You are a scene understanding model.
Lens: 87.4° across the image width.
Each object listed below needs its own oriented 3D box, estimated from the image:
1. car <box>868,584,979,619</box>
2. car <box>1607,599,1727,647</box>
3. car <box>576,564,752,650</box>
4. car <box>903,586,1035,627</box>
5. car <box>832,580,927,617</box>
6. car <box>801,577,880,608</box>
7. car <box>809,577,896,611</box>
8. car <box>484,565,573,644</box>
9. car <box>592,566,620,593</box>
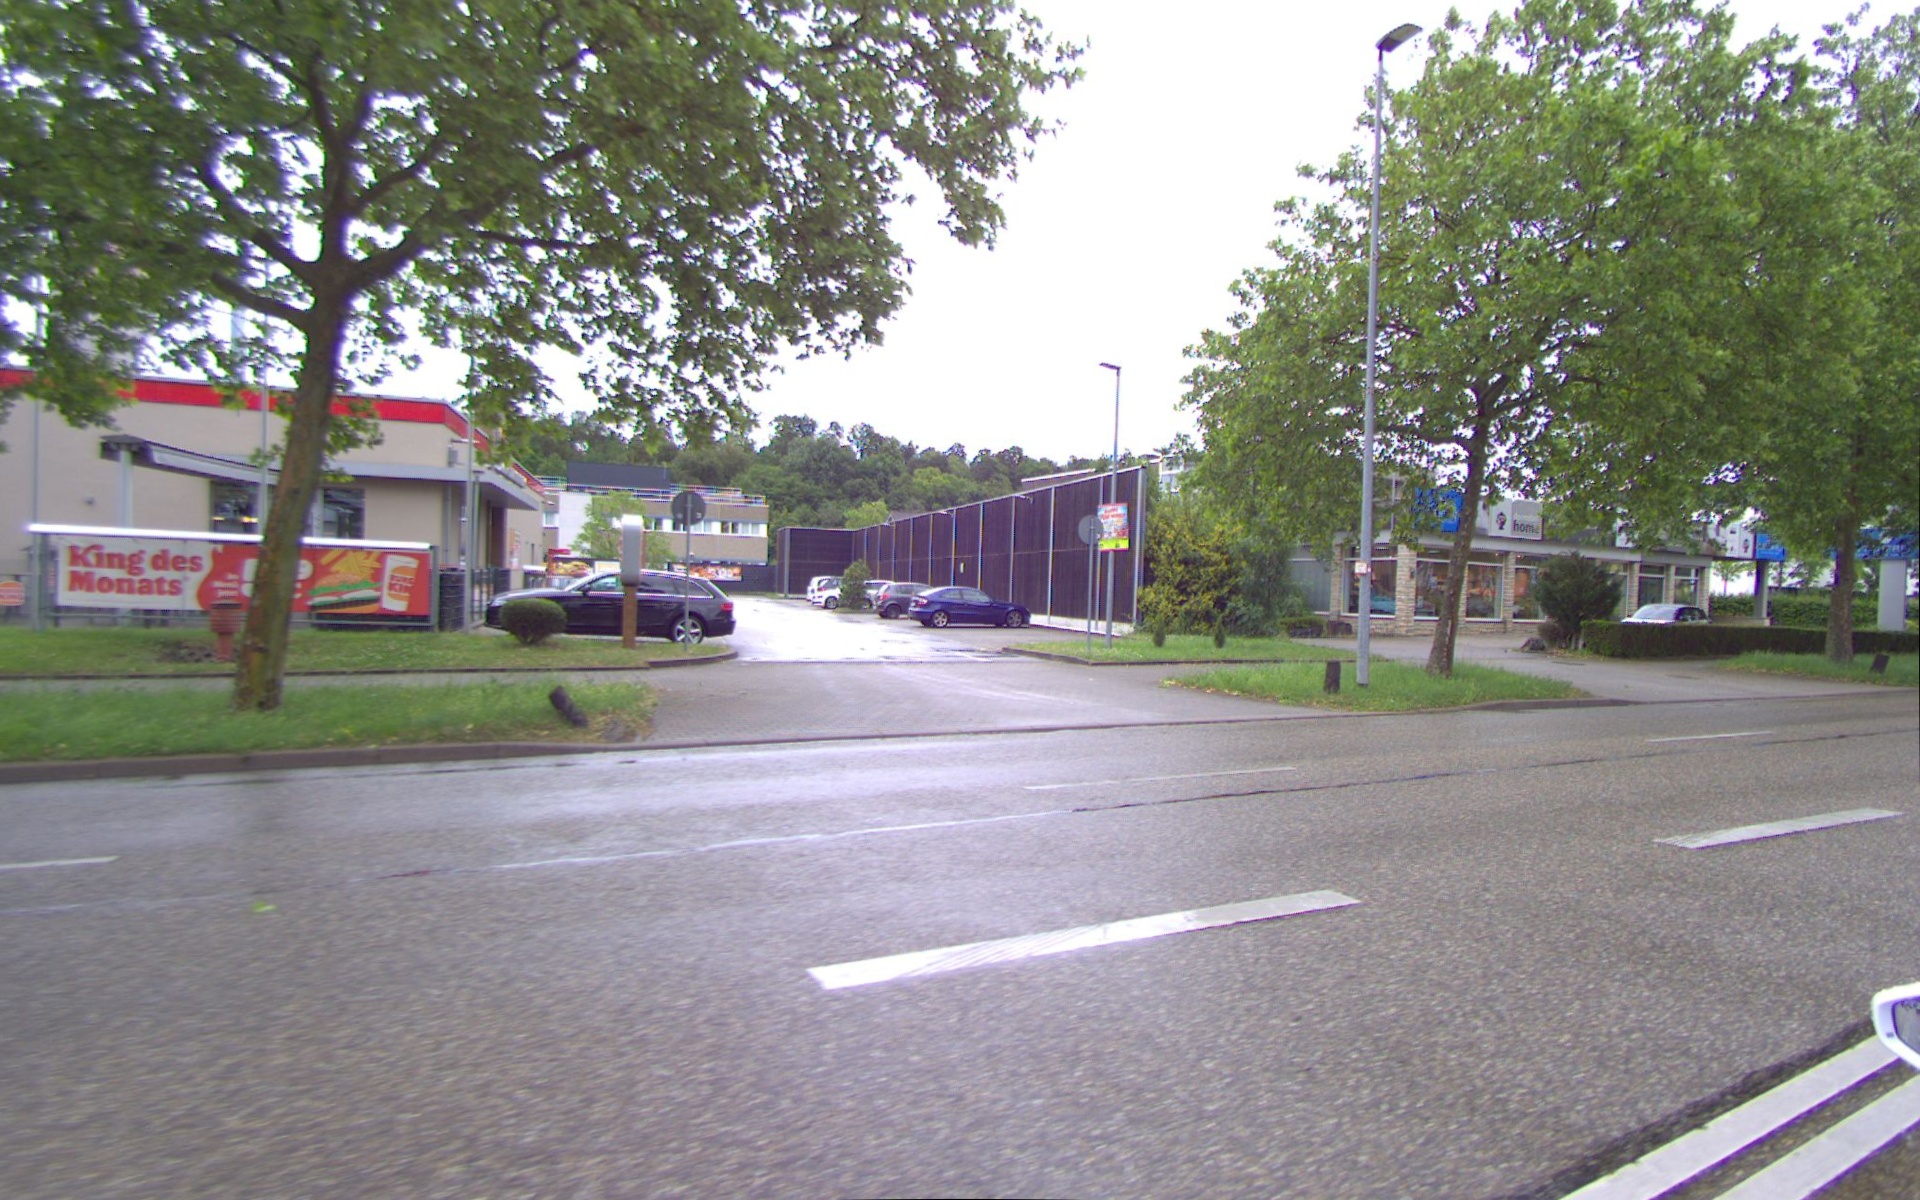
[{"bbox_3d":[-1.522,0.032,41.579,4.246,1.383,1.864,0,1,-17],"label":"car"},{"bbox_3d":[23.587,0.767,33.499,3.894,1.506,1.814,1,0,-31],"label":"car"},{"bbox_3d":[-5.841,0.138,19.790,3.145,1.445,1.431,4,1,-21],"label":"car"},{"bbox_3d":[0.287,0.207,34.772,4.246,1.383,1.864,0,1,-17],"label":"car"},{"bbox_3d":[-3.890,-0.074,48.430,4.246,1.660,1.864,1,0,-17],"label":"car"},{"bbox_3d":[-6.975,-0.423,58.547,4.246,1.660,1.864,1,0,-17],"label":"car"},{"bbox_3d":[-5.674,-0.288,52.858,4.246,1.660,1.864,1,0,-17],"label":"car"},{"bbox_3d":[-7.594,0.033,17.854,1.271,1.171,3.170,1,3,-20],"label":"car"},{"bbox_3d":[-23.850,-1.354,67.820,1.689,1.651,3.827,1,0,-19],"label":"car"}]
